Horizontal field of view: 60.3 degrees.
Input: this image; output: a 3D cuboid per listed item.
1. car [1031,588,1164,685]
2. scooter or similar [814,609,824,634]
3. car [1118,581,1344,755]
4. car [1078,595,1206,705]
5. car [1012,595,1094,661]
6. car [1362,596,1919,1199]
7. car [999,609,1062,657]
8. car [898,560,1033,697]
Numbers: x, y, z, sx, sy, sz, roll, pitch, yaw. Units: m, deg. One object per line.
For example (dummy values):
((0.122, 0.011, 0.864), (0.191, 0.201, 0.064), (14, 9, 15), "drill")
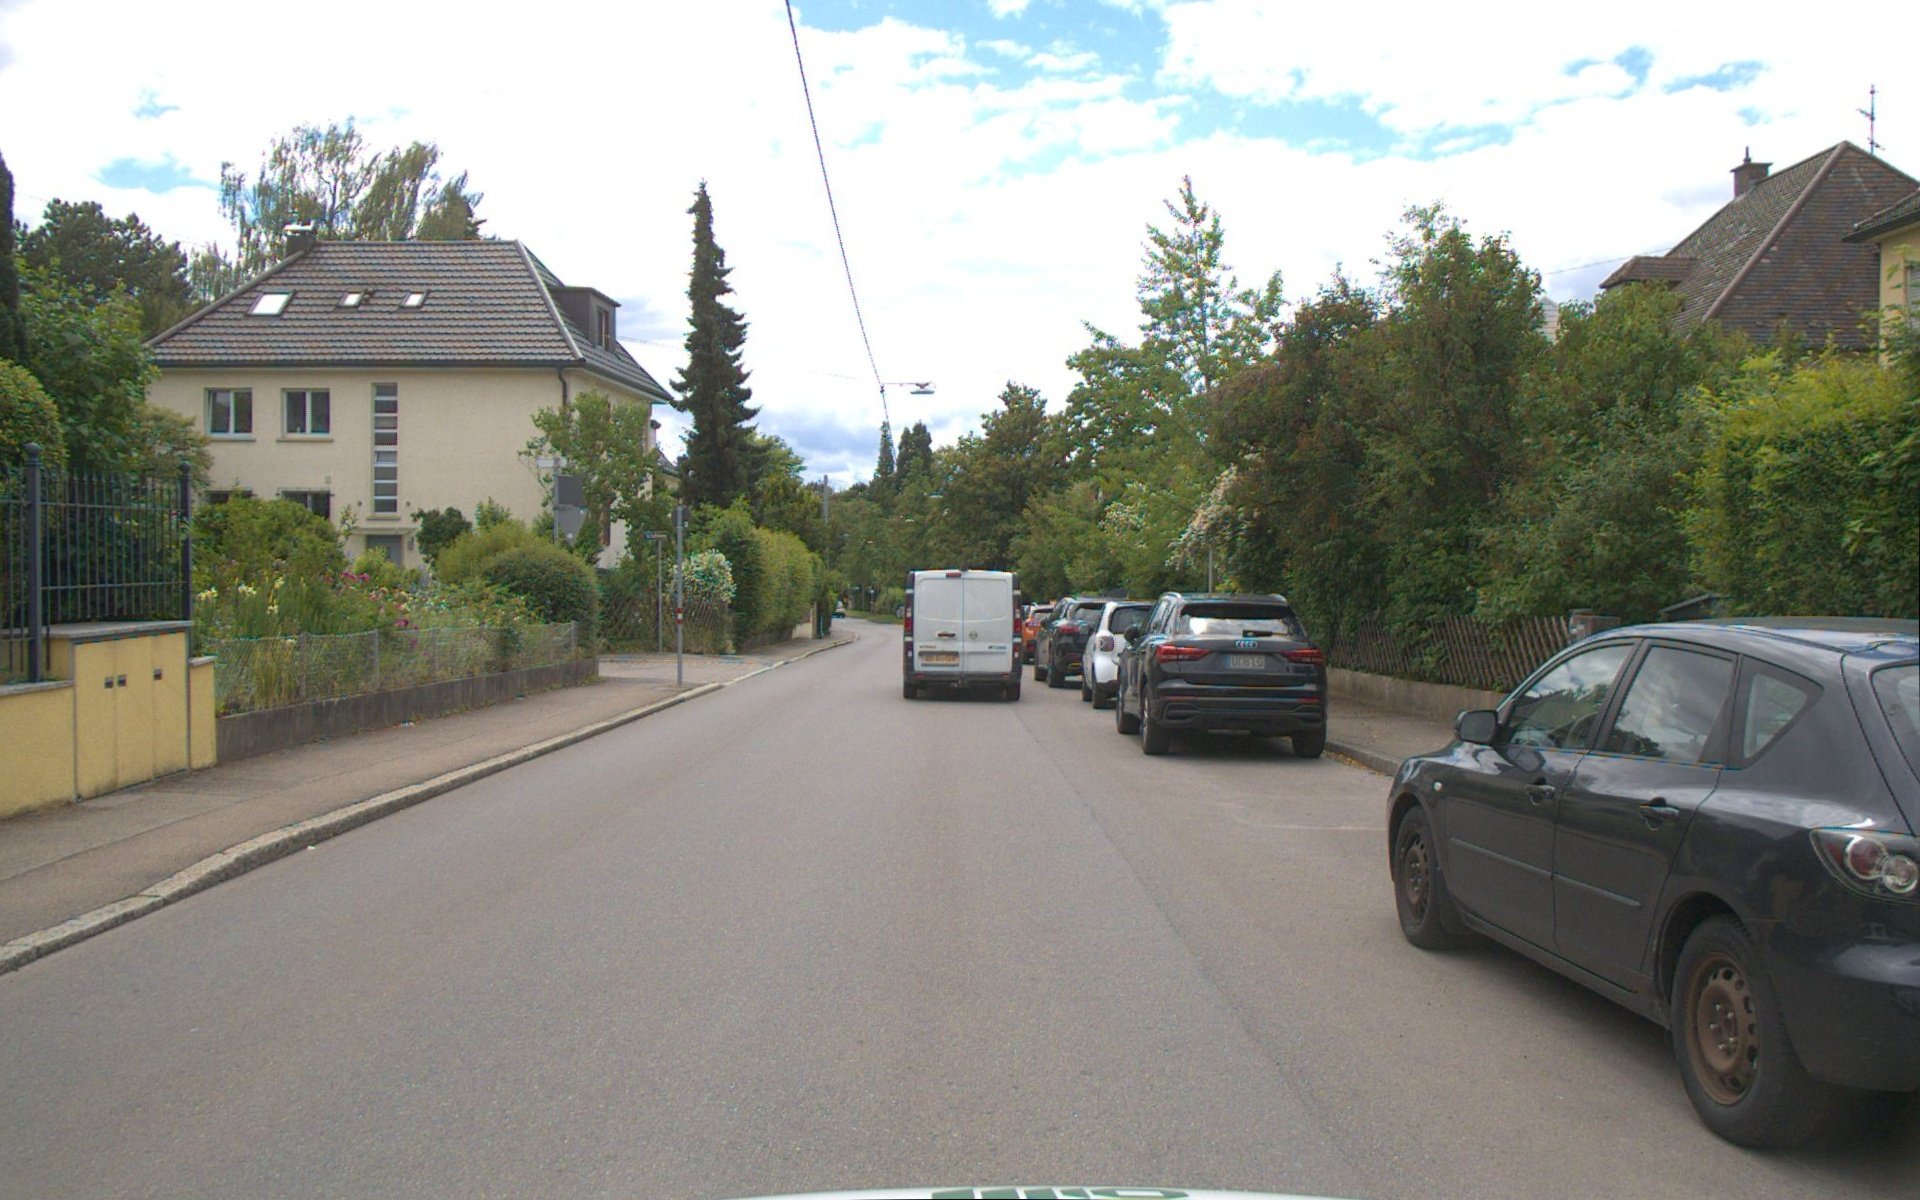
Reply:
((2.520, 0.673, 31.443), (1.911, 1.655, 4.373), (2, -1, -3), "car")
((-6.827, 1.046, 80.219), (0.384, 1.191, 1.269), (1, -1, -2), "scooter or similar")
((2.752, 0.651, 17.645), (1.764, 1.620, 4.141), (1, 0, 0), "car")
((2.687, 0.714, 24.877), (1.566, 1.537, 3.013), (0, -1, -1), "car")
((2.488, 0.752, 45.171), (1.813, 1.655, 4.168), (2, -1, -2), "car")
((2.933, 0.740, 6.035), (1.683, 1.486, 4.138), (1, 0, -4), "car")
((2.157, 1.007, 51.284), (1.681, 1.406, 4.235), (1, -1, -1), "car")
((-0.002, 0.409, 26.711), (1.891, 1.998, 4.399), (1, 0, -3), "car")
